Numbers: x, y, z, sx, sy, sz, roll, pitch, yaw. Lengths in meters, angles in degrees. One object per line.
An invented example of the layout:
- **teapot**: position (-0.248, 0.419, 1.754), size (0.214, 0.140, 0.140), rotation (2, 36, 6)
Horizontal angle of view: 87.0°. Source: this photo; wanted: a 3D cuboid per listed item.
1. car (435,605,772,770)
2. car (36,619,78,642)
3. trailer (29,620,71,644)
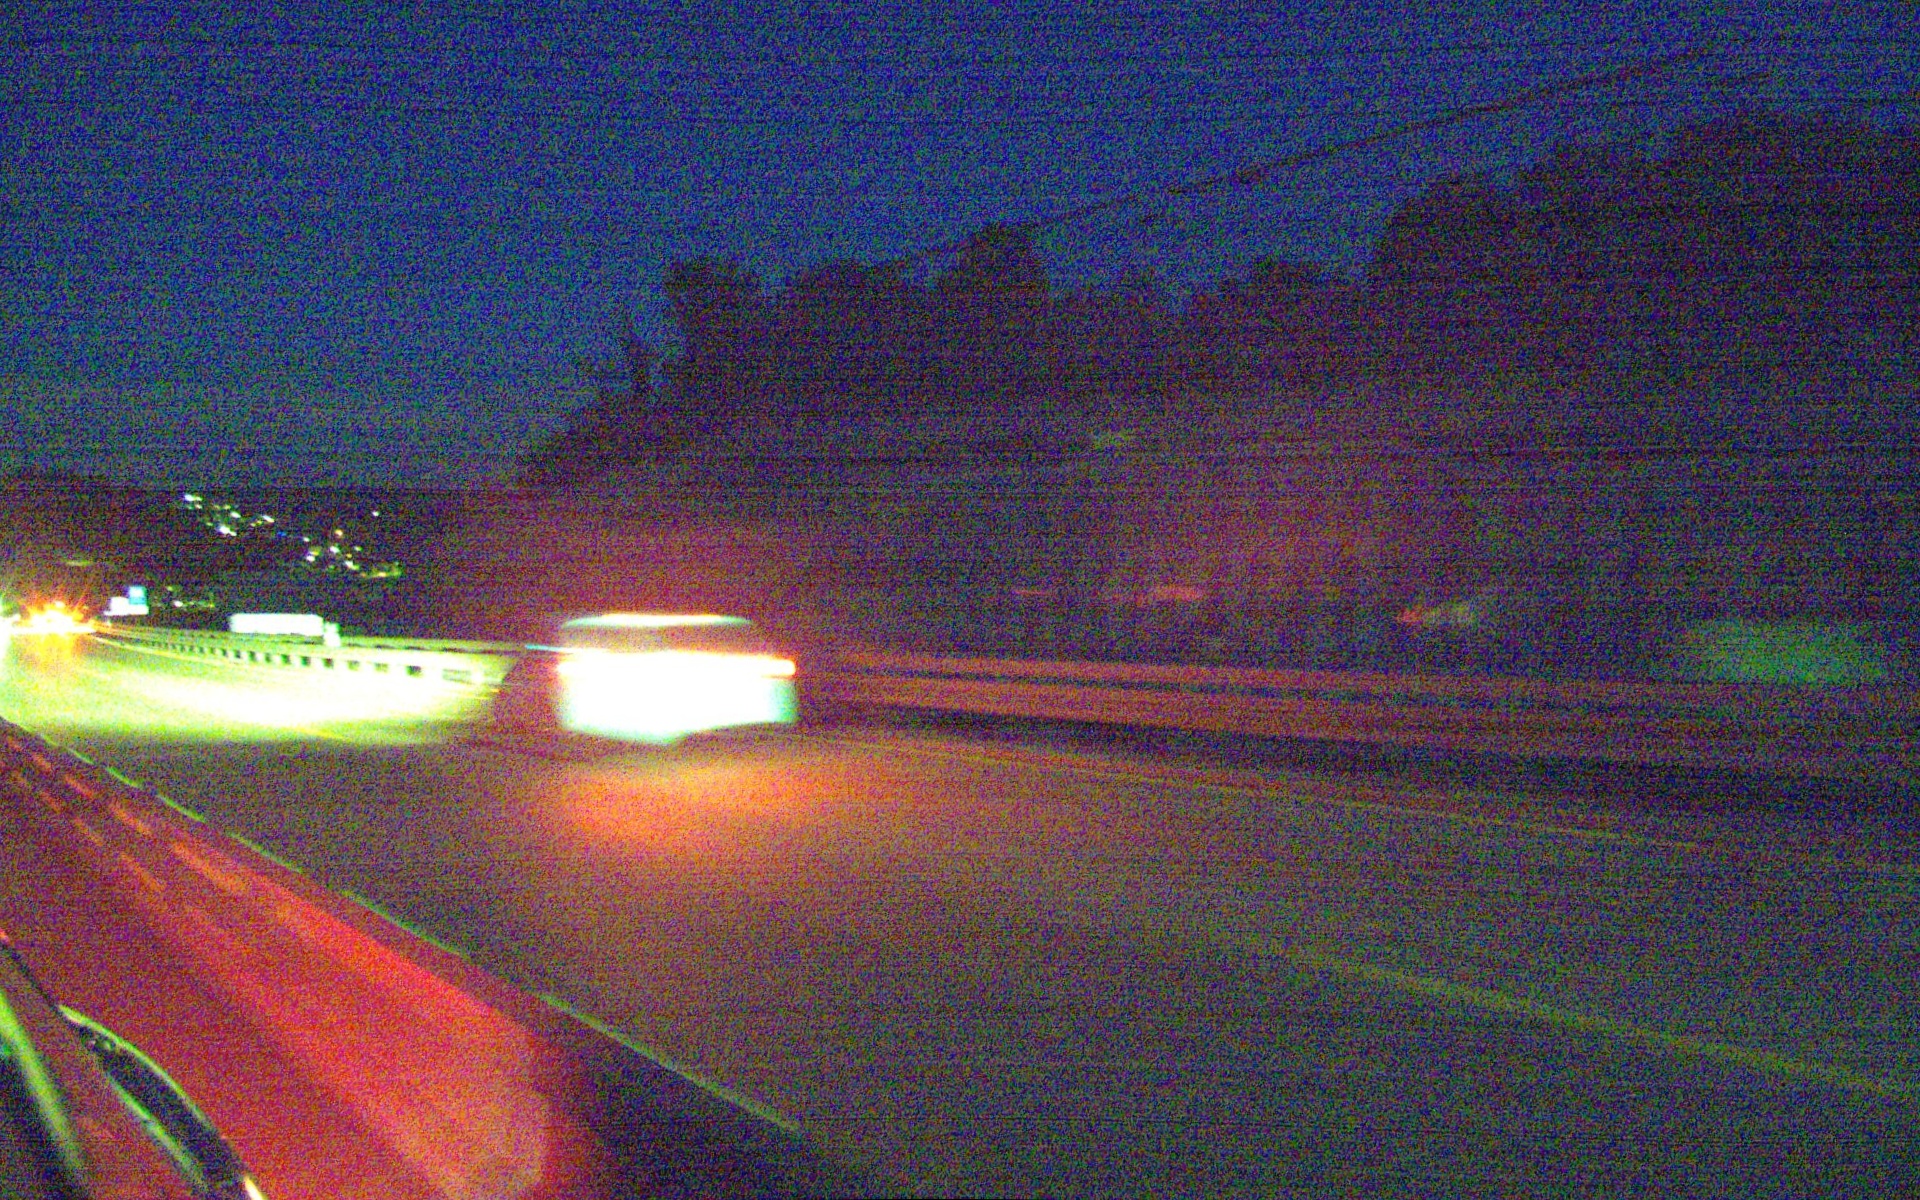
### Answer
- **car**: position (-4.023, 0.810, 11.056), size (4.199, 1.470, 1.666), rotation (-1, -1, 42)
- **car**: position (-68.949, 2.294, 77.337), size (1.986, 1.652, 4.874), rotation (1, -1, -37)
- **trailer**: position (-66.483, 2.291, 74.014), size (1.987, 1.652, 3.425), rotation (1, -1, -37)
